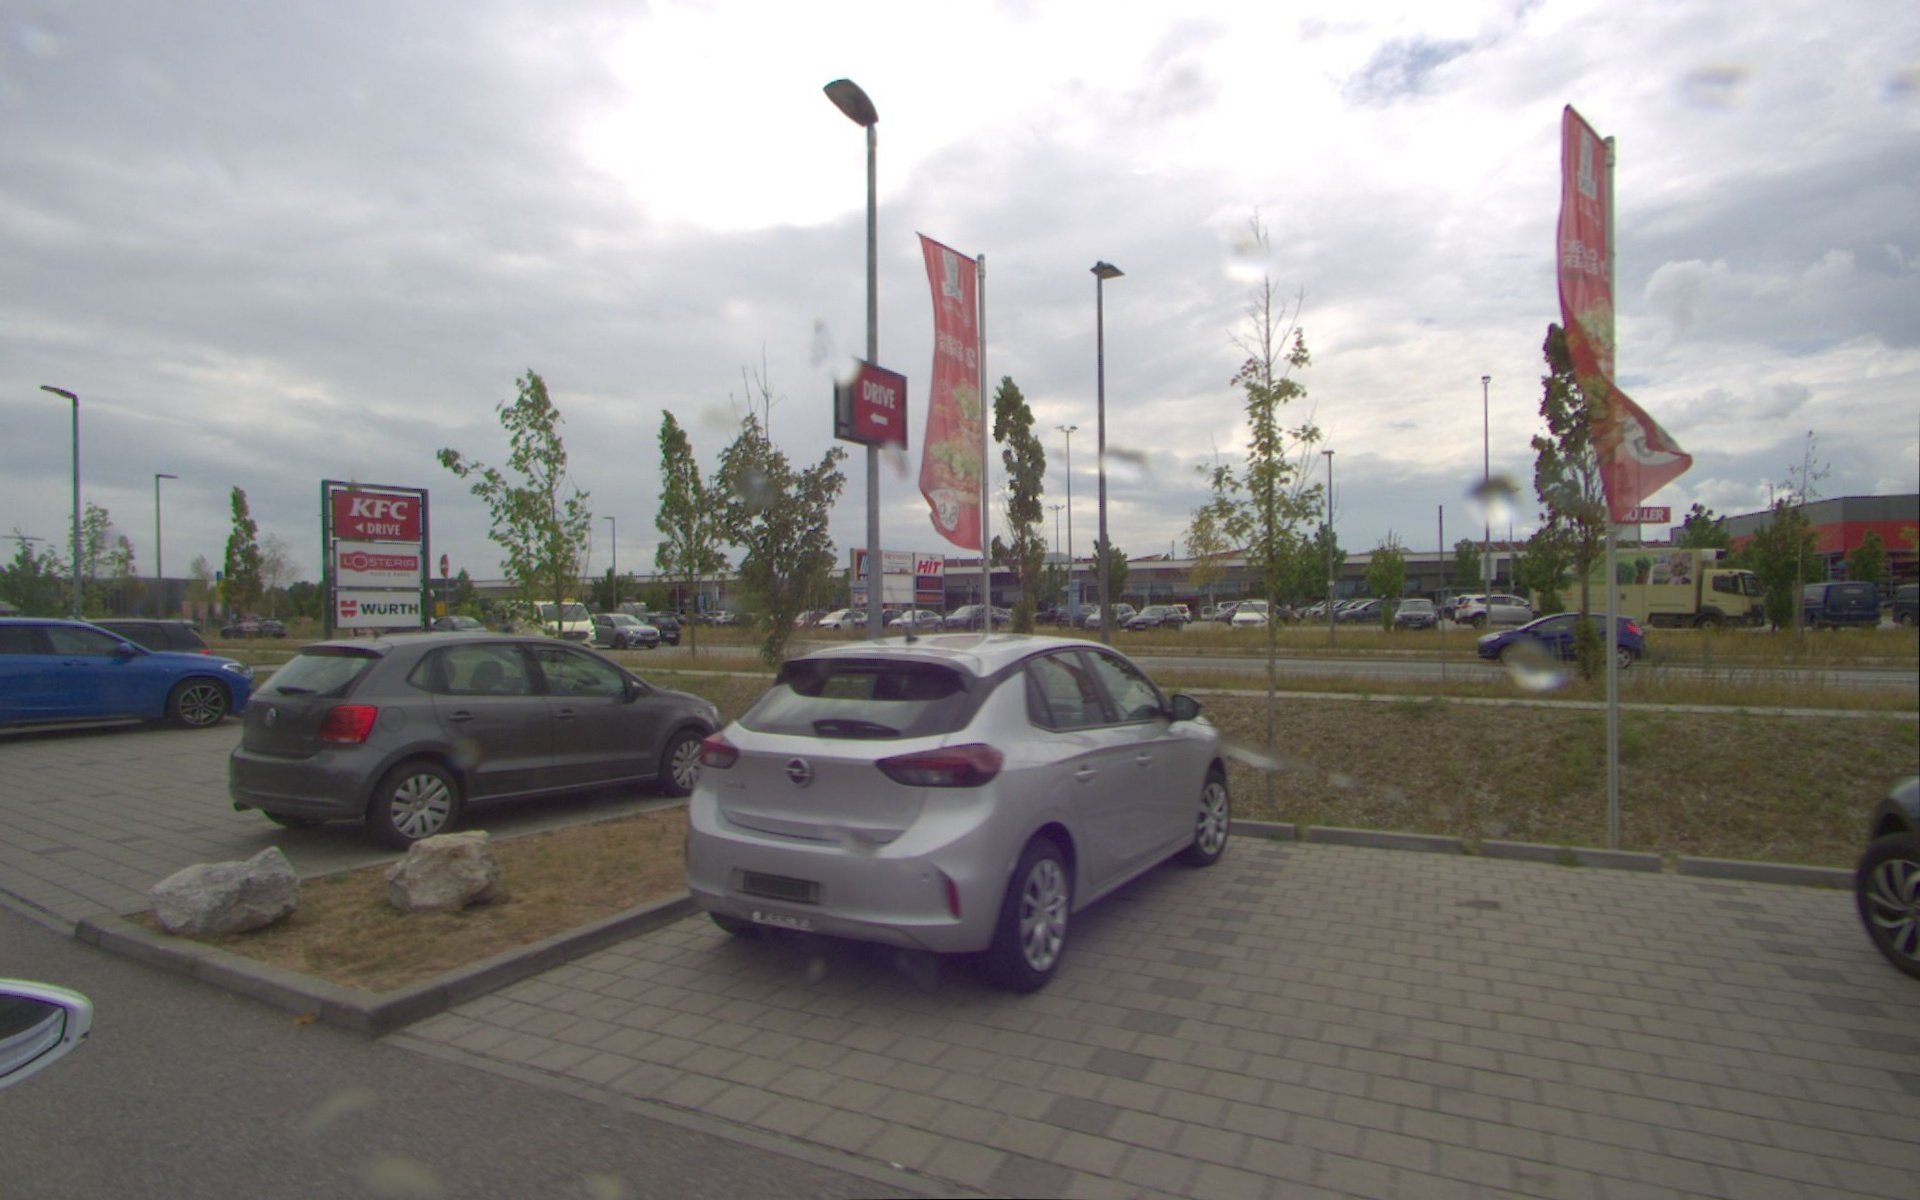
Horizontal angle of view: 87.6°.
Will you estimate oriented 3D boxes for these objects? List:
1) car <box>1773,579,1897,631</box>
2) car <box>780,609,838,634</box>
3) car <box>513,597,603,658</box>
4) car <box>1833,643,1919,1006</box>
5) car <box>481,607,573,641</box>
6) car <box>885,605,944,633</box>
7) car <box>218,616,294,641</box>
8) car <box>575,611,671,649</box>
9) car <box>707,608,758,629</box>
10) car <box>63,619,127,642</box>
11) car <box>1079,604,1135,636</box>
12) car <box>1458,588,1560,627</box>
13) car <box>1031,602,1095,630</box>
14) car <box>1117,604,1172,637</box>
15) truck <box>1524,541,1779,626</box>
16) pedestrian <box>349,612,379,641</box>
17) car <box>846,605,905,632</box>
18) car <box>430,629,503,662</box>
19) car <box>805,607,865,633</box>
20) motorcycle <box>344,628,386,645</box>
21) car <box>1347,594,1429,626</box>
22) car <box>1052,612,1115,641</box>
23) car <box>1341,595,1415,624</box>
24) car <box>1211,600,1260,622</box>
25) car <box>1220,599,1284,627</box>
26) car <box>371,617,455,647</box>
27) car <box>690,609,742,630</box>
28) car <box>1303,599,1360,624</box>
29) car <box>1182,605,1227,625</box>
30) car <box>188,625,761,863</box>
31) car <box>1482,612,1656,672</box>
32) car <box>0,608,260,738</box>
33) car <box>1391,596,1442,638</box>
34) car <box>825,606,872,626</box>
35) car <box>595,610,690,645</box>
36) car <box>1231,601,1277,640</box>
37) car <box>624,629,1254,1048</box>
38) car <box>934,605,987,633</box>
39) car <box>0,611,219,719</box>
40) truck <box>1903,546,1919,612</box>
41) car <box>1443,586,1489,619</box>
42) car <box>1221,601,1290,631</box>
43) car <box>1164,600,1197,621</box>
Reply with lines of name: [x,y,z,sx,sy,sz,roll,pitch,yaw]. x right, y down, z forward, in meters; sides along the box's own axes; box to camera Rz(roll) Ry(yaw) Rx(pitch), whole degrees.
car: [34.592,0.228,39.789,2.042,1.909,5.060,0,-1,21]
car: [-10.048,1.404,66.853,1.877,1.560,4.040,-1,1,25]
car: [-15.073,0.976,37.359,1.975,2.114,5.194,0,0,-35]
car: [4.125,0.832,2.683,1.710,1.430,3.797,0,-3,26]
car: [-19.795,1.086,45.714,4.224,1.519,1.847,-1,-1,33]
car: [-2.777,1.138,61.764,1.967,1.560,4.040,-1,1,25]
car: [-46.325,1.851,65.897,4.772,1.573,1.797,-1,1,23]
car: [-14.032,1.221,41.645,3.946,1.479,1.818,-1,1,35]
car: [-21.162,1.714,93.104,4.109,1.862,1.997,-1,1,15]
car: [-56.016,1.976,64.837,4.489,1.413,1.761,-1,-1,30]
car: [7.911,1.067,53.774,1.744,1.560,4.037,-1,1,28]
car: [26.578,0.369,48.661,4.252,1.796,1.914,-1,1,26]
car: [7.129,1.085,69.408,4.112,1.862,1.996,0,1,18]
car: [9.656,1.048,52.203,1.744,1.560,4.037,-1,1,28]
truck: [28.852,-0.625,42.223,2.992,3.239,8.369,-2,1,-37]
pedestrian: [-27.582,1.215,46.348,0.885,1.298,0.803,-3,-1,29]
car: [-5.288,1.171,63.263,1.967,1.560,4.040,-1,1,25]
car: [-21.165,1.923,42.949,3.119,1.354,1.458,0,0,34]
car: [-8.098,1.266,65.016,1.836,1.521,4.055,-1,1,29]
motorcycle: [-27.547,1.689,46.354,1.997,0.784,0.813,-1,0,30]
car: [25.558,0.581,59.975,4.242,1.796,1.997,-1,1,16]
car: [7.503,1.569,60.581,1.975,1.560,4.130,0,1,37]
car: [27.146,0.584,65.121,4.243,1.796,1.996,-1,1,17]
car: [24.214,0.954,87.902,4.112,1.862,1.996,0,1,18]
car: [19.850,0.876,67.955,4.112,1.862,1.996,0,1,18]
car: [-27.271,1.579,49.906,4.155,1.413,1.761,-1,-1,30]
car: [-22.002,1.749,90.348,4.108,1.862,1.998,-1,1,13]
car: [28.953,0.867,78.119,4.112,1.862,1.996,0,1,18]
car: [23.999,1.475,98.323,4.112,1.862,1.996,0,1,18]
car: [-3.639,0.960,8.265,1.702,1.446,3.983,0,-2,31]
car: [16.101,1.078,26.686,3.860,1.479,1.653,-1,1,29]
car: [-11.966,0.897,13.153,1.839,1.564,4.192,0,-1,34]
car: [20.861,0.738,45.713,1.901,1.795,4.303,-1,1,28]
car: [-10.709,1.505,96.260,4.112,1.862,1.996,0,1,19]
car: [-14.922,1.275,47.039,4.357,1.506,1.919,-1,1,32]
car: [14.634,0.985,49.718,1.965,1.795,4.311,-1,1,20]
car: [0.289,0.914,5.604,1.812,1.430,3.925,-1,-3,29]
car: [0.074,1.103,59.556,1.743,1.560,3.750,-1,1,25]
car: [-13.867,0.925,15.050,1.752,1.479,4.049,0,0,35]
truck: [55.780,-1.183,54.582,2.607,3.793,8.245,-1,1,14]
car: [28.786,0.140,57.060,1.966,1.795,3.988,-1,1,22]
car: [18.789,1.004,63.700,4.112,1.862,1.996,0,1,18]
car: [17.270,0.794,78.323,1.965,1.560,4.150,-1,1,20]
